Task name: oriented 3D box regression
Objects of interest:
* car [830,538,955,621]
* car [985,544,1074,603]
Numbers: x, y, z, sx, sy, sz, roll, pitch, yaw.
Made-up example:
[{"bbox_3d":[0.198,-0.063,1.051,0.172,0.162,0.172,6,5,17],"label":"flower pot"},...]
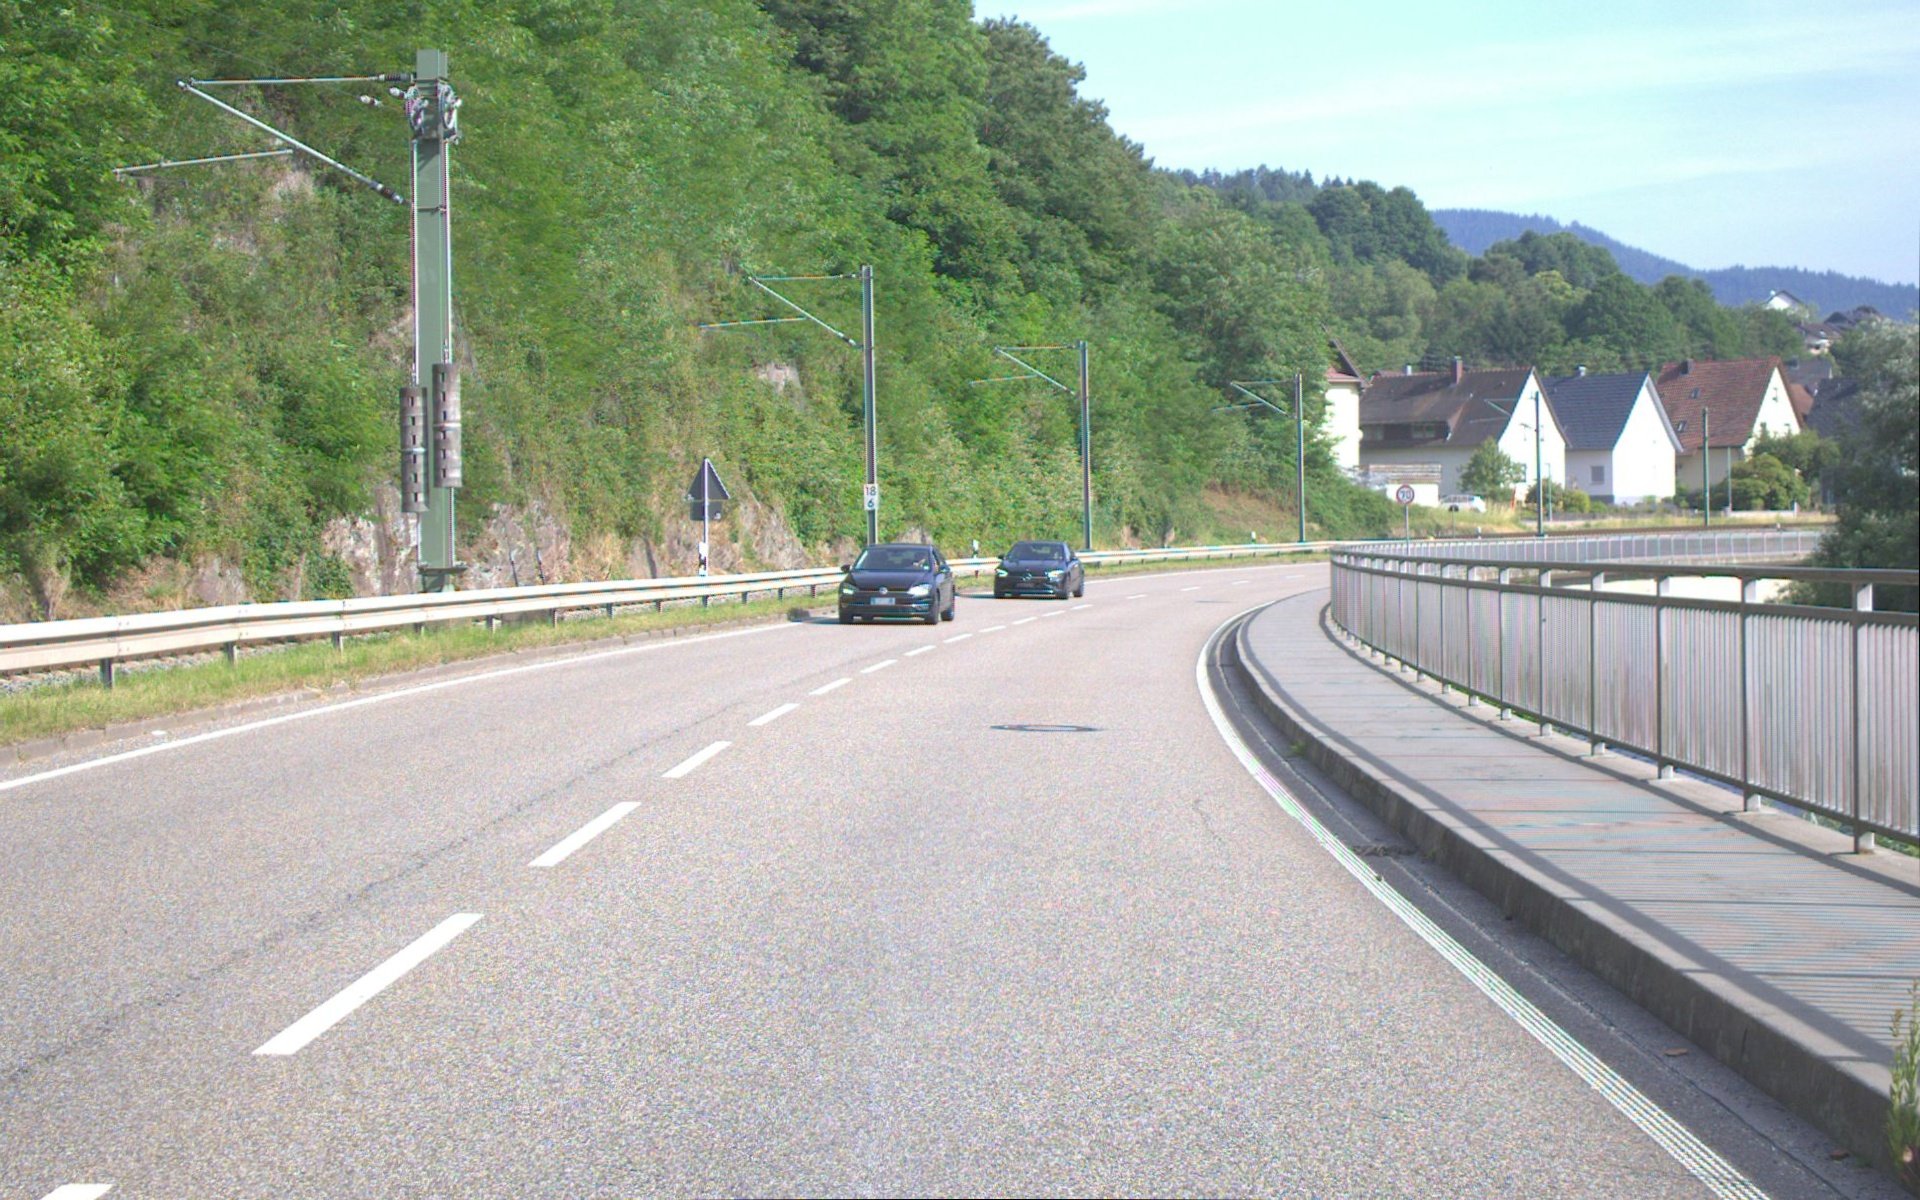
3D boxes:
[{"bbox_3d":[-1.195,-0.401,62.741,1.847,1.435,3.897,1,1,5],"label":"car"},{"bbox_3d":[1.743,-0.677,85.002,1.847,1.397,4.475,0,1,6],"label":"car"}]
